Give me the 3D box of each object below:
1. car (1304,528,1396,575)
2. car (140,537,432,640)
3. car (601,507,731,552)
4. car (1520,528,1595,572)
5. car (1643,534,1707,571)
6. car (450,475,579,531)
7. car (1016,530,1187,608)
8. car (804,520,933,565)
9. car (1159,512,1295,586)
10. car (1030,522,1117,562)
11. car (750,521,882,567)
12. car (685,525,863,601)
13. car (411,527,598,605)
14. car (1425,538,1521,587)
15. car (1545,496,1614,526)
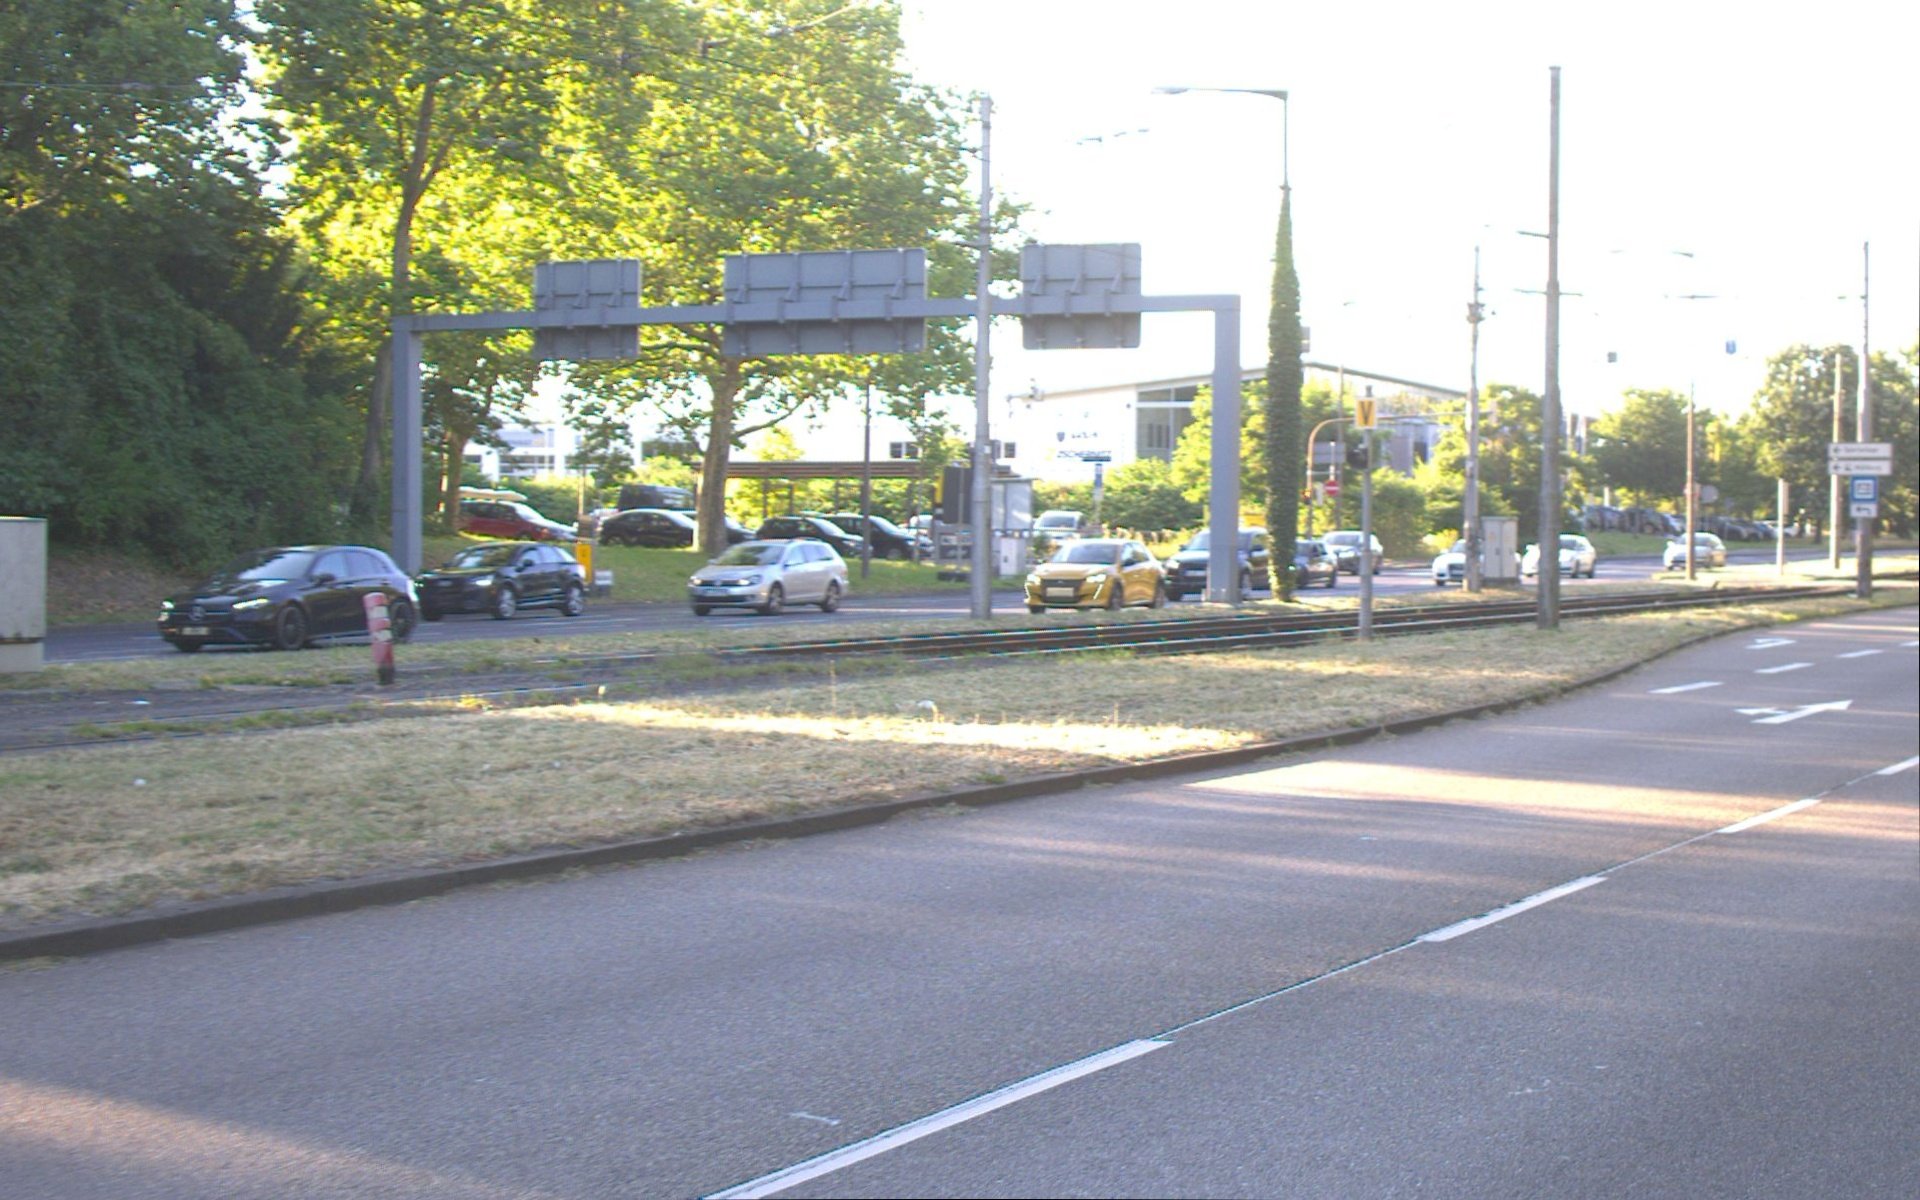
[{"bbox_3d":[13.240,-1.640,116.402,1.840,1.476,4.594,3,2,23],"label":"car"},{"bbox_3d":[-9.205,-0.160,47.282,1.688,1.305,4.303,2,1,25],"label":"car"},{"bbox_3d":[-10.063,-2.433,117.806,4.060,1.382,1.782,3,2,25],"label":"car"},{"bbox_3d":[20.492,-1.717,117.815,1.655,1.411,4.254,2,2,22],"label":"car"},{"bbox_3d":[28.626,-1.916,137.493,1.655,1.411,4.253,2,2,23],"label":"car"},{"bbox_3d":[-15.557,-3.385,120.095,3.993,1.853,1.997,2,1,27],"label":"car"},{"bbox_3d":[2.739,-0.579,65.708,1.841,1.411,4.013,2,1,25],"label":"car"},{"bbox_3d":[-3.141,-1.971,118.302,4.062,1.382,1.781,3,2,30],"label":"car"},{"bbox_3d":[6.419,-1.208,82.114,1.841,1.649,4.430,3,2,23],"label":"car"},{"bbox_3d":[4.403,-2.234,133.148,1.844,1.437,3.994,3,2,26],"label":"car"},{"bbox_3d":[-4.827,-1.879,115.460,4.062,1.382,1.781,3,2,30],"label":"car"},{"bbox_3d":[-3.644,-0.728,68.183,1.688,1.411,4.432,2,1,24],"label":"car"},{"bbox_3d":[-8.732,-0.646,66.192,1.688,1.411,4.187,2,1,22],"label":"car"},{"bbox_3d":[15.675,-1.148,104.913,1.840,1.411,4.594,1,1,22],"label":"car"},{"bbox_3d":[31.156,-4.467,172.945,3.145,1.387,1.454,3,1,20],"label":"car"}]
